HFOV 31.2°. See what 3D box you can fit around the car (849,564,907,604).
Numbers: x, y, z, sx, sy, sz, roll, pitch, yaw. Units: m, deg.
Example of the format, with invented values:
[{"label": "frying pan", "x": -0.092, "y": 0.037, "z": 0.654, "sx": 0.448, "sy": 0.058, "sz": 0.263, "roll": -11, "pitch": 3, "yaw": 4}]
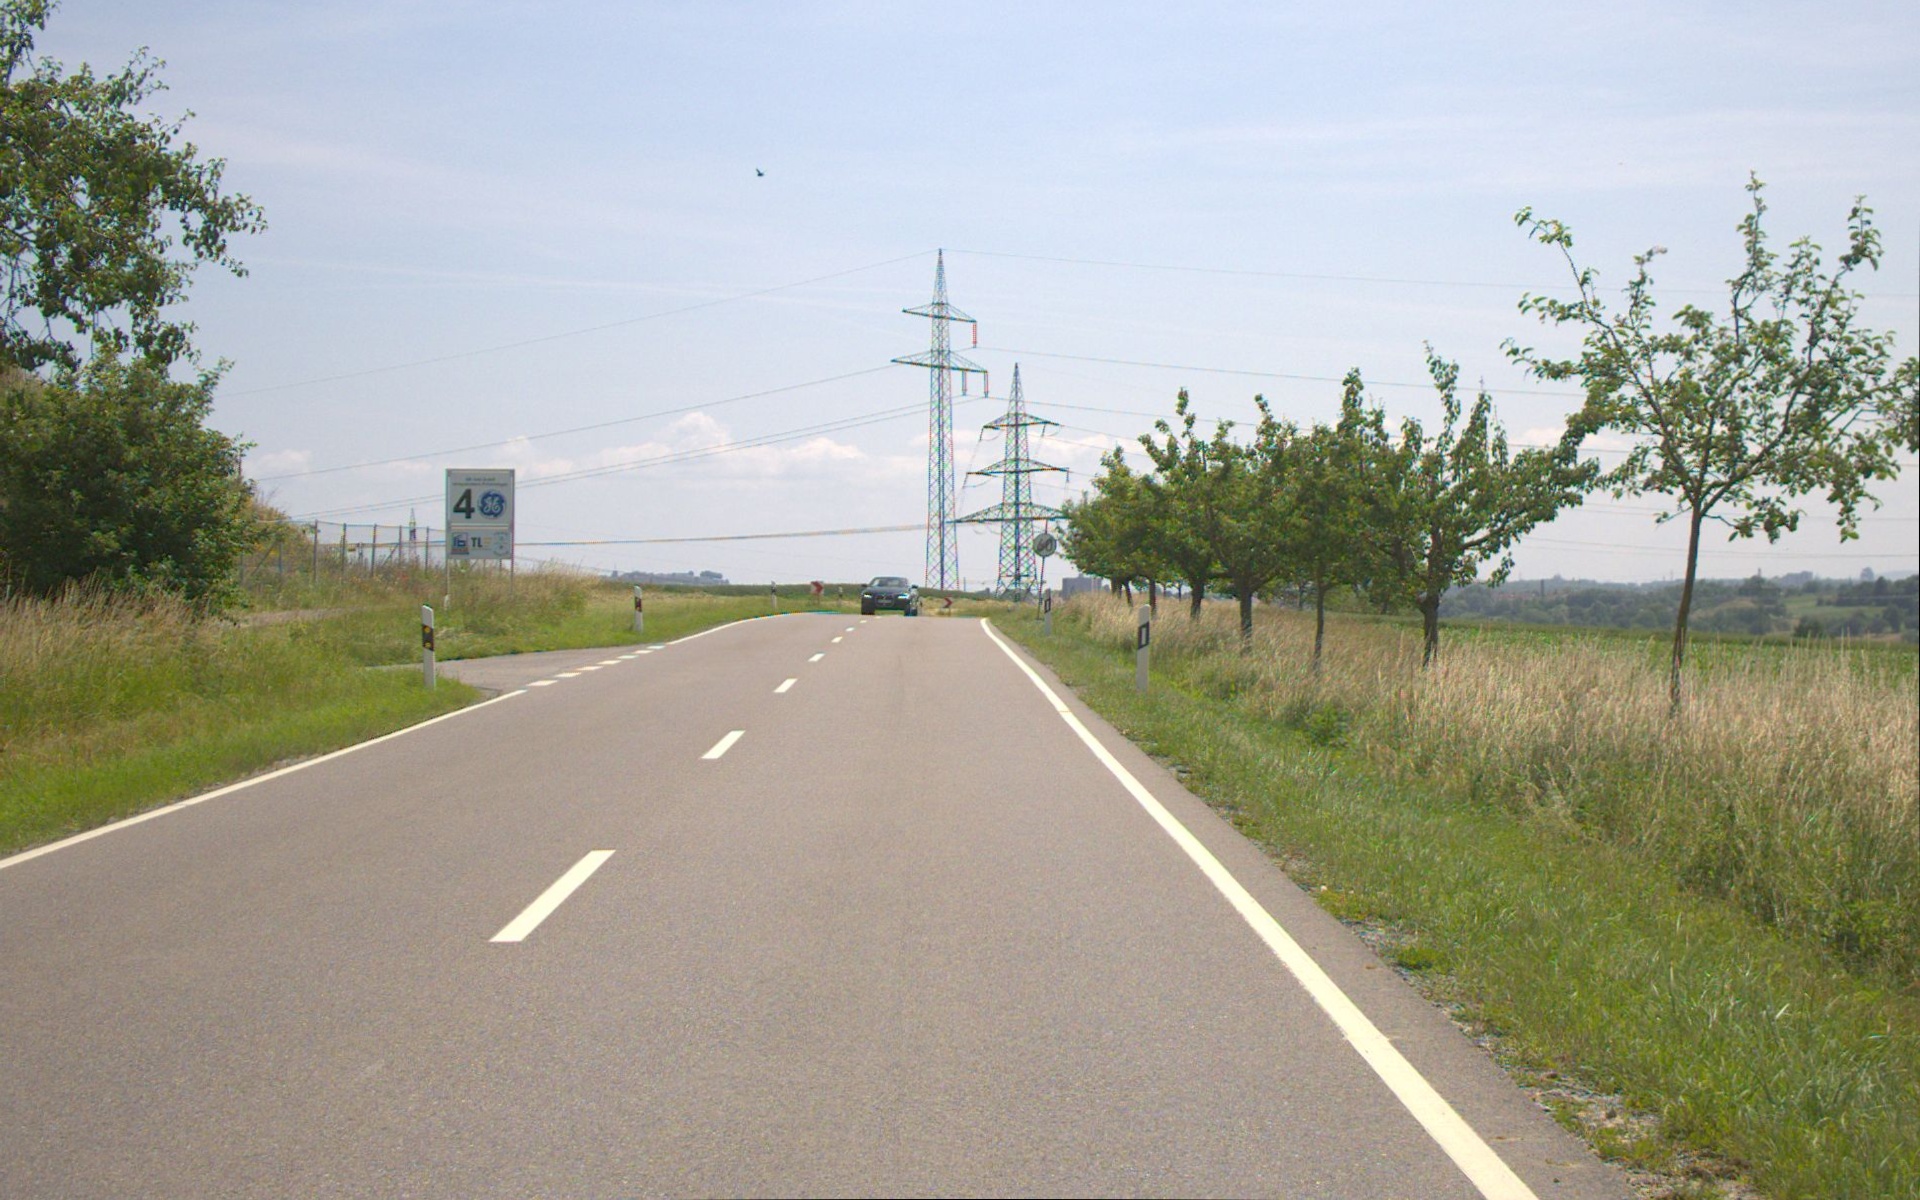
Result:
[{"label": "car", "x": -2.970, "y": -0.611, "z": 125.798, "sx": 1.823, "sy": 1.406, "sz": 4.000, "roll": 1, "pitch": 1, "yaw": 3}]
